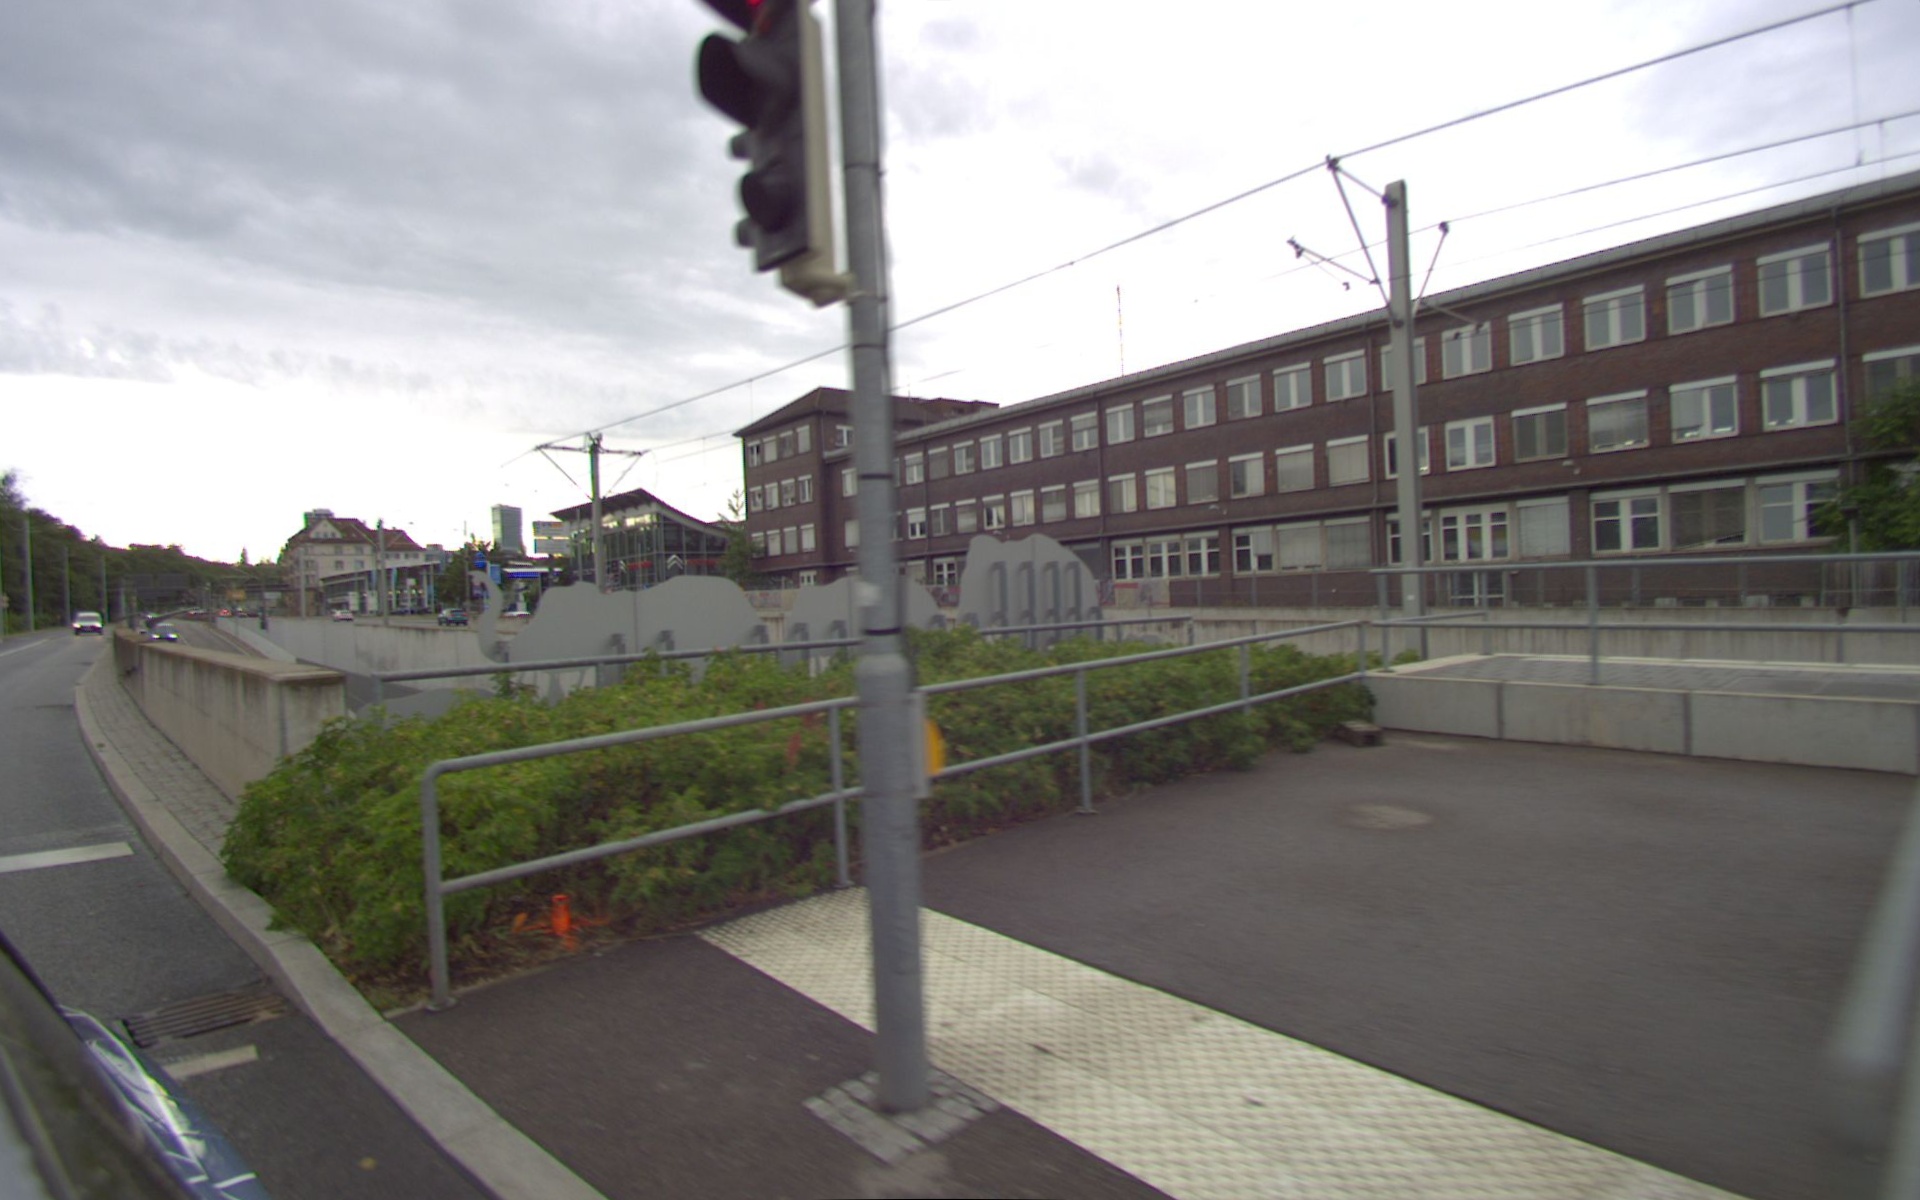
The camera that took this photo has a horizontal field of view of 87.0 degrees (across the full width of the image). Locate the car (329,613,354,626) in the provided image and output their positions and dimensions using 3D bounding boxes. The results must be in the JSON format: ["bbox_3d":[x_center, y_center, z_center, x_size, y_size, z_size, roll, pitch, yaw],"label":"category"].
[{"bbox_3d":[-83.321,2.629,136.263,2.088,1.729,4.585,-2,0,-42],"label":"car"}]

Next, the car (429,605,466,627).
[{"bbox_3d":[-47.307,1.489,93.347,1.970,2.029,4.004,0,-1,-43],"label":"car"}]

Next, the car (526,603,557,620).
[{"bbox_3d":[-46.682,1.322,112.825,1.969,1.785,4.005,-2,0,-42],"label":"car"}]

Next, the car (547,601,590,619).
[{"bbox_3d":[-42.464,1.096,109.755,3.937,1.785,2.003,-2,0,-40],"label":"car"}]

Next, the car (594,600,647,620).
[{"bbox_3d":[-33.603,0.978,100.152,4.509,1.773,2.003,-2,0,-41],"label":"car"}]

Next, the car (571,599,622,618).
[{"bbox_3d":[-37.284,0.868,103.952,4.509,1.773,2.003,-2,0,-41],"label":"car"}]

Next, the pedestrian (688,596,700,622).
[{"bbox_3d":[-20.680,0.700,78.749,0.722,2.029,0.578,0,0,13],"label":"pedestrian"}]

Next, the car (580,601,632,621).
[{"bbox_3d":[-35.614,1.101,102.007,4.509,1.773,2.003,-2,0,-41],"label":"car"}]

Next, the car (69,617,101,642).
[{"bbox_3d":[-72.516,2.445,83.908,1.968,2.029,4.006,0,-1,-40],"label":"car"}]
